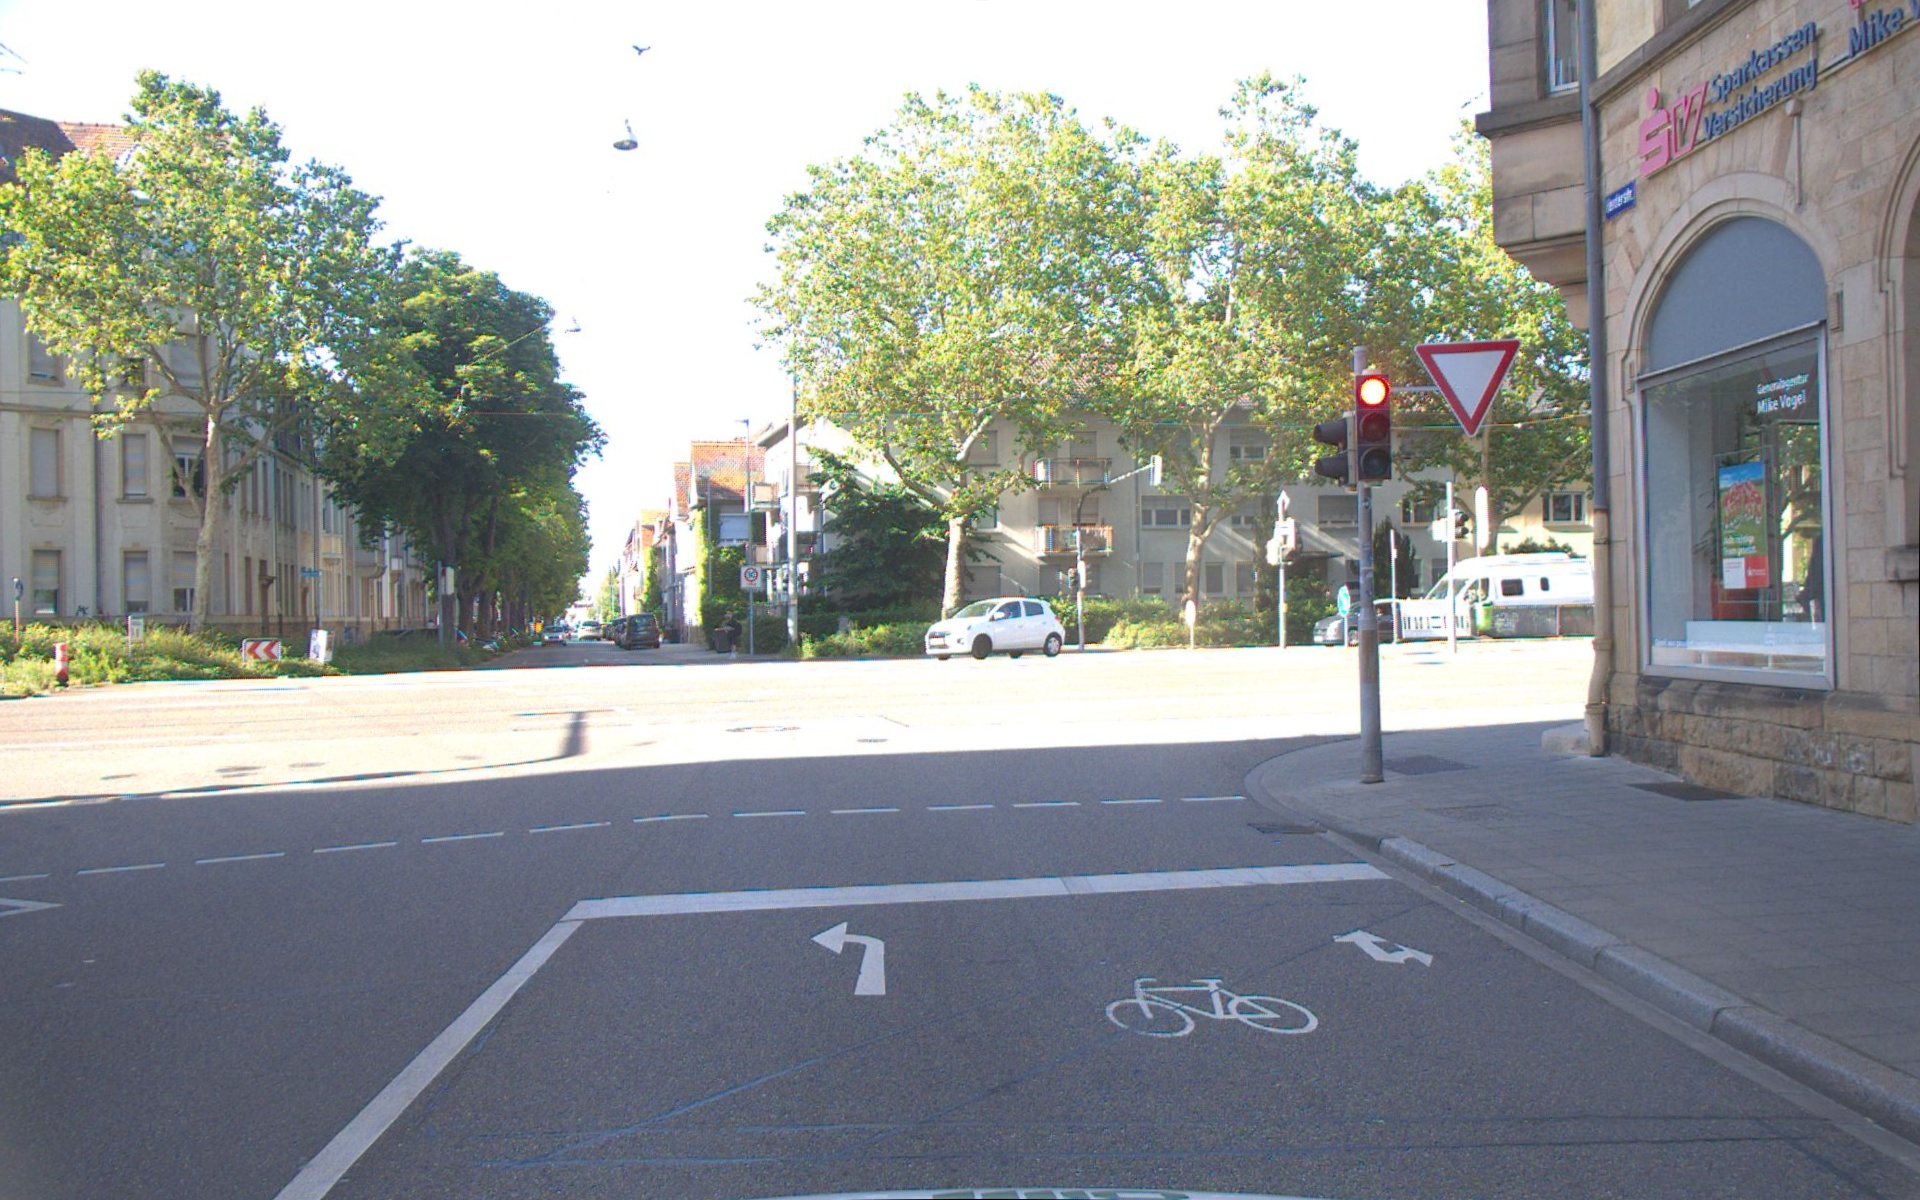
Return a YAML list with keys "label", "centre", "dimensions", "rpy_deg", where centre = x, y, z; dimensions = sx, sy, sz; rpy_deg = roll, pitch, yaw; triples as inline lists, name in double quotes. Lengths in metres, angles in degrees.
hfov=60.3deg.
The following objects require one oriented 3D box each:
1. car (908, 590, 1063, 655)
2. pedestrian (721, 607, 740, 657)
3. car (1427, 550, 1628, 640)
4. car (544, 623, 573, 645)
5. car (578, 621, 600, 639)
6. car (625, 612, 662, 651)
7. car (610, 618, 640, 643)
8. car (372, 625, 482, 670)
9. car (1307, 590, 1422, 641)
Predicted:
- label: "car"
  centre: [0.666, 0.549, 41.797]
  dimensions: [3.763, 1.498, 1.606]
  rpy_deg: [-2, 0, -40]
- label: "pedestrian"
  centre: [-8.324, 1.156, 59.939]
  dimensions: [0.621, 1.780, 0.658]
  rpy_deg: [0, -1, -5]
- label: "car"
  centre: [17.731, -0.171, 51.663]
  dimensions: [5.949, 2.613, 1.989]
  rpy_deg: [-2, 0, -19]
- label: "car"
  centre: [-29.057, 2.473, 119.738]
  dimensions: [1.960, 1.471, 3.984]
  rpy_deg: [-2, 0, -15]
- label: "car"
  centre: [-31.192, 2.544, 139.031]
  dimensions: [1.644, 1.509, 3.513]
  rpy_deg: [0, -1, -10]
- label: "car"
  centre: [-18.032, 1.777, 94.240]
  dimensions: [1.957, 2.049, 3.990]
  rpy_deg: [-2, 0, -10]
- label: "car"
  centre: [-25.310, 2.272, 124.901]
  dimensions: [1.961, 1.865, 3.982]
  rpy_deg: [0, -1, -16]
- label: "car"
  centre: [-20.424, 1.807, 63.390]
  dimensions: [3.928, 1.512, 1.672]
  rpy_deg: [-2, 0, -20]
- label: "car"
  centre: [13.049, 0.494, 53.355]
  dimensions: [3.333, 1.513, 1.514]
  rpy_deg: [-2, 0, -23]
